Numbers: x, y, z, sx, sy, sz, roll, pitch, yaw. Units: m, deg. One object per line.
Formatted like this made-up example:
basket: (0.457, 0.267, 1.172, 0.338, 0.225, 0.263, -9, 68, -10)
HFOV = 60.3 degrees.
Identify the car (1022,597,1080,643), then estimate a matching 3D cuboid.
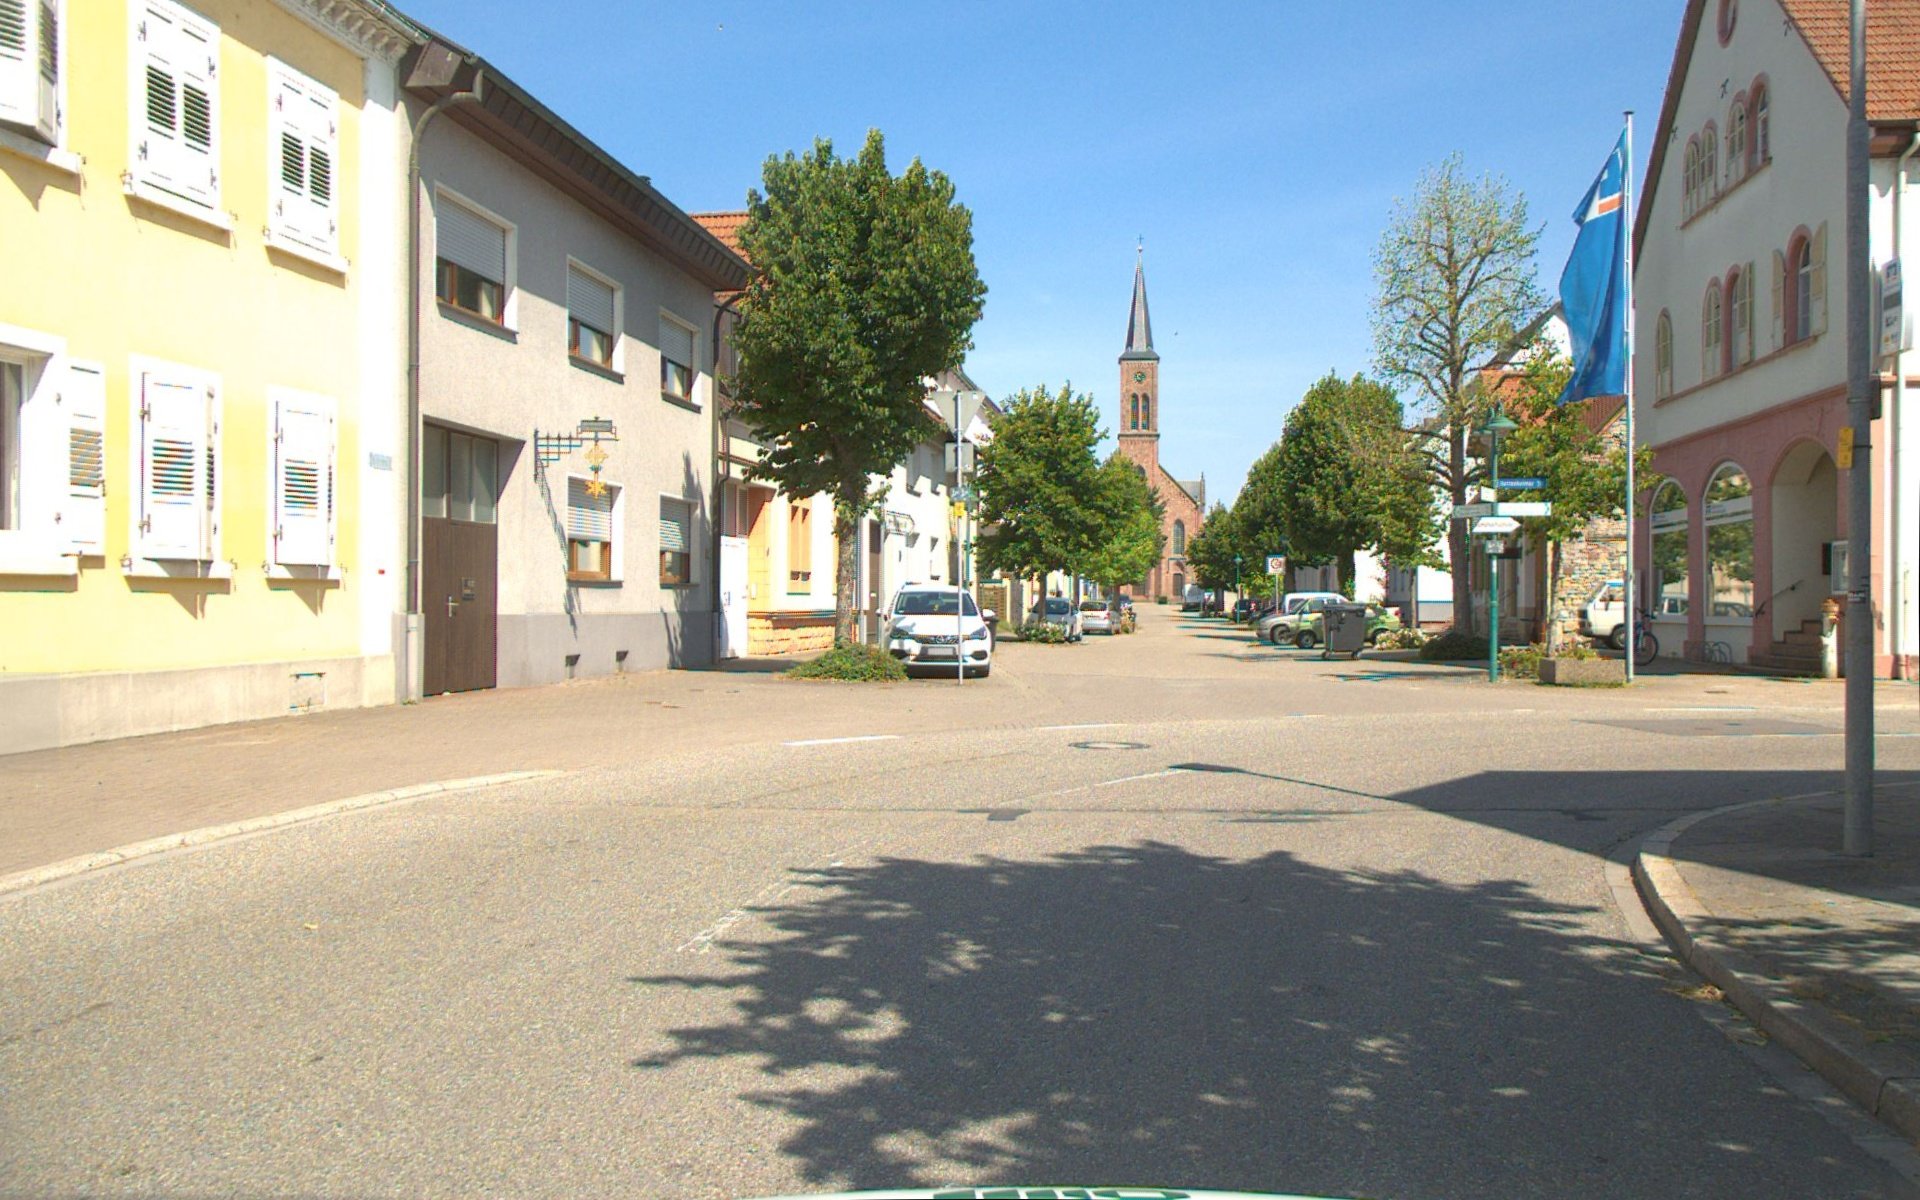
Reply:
car: (3.375, 0.711, 60.826, 1.951, 1.601, 4.003, 0, 0, 6)

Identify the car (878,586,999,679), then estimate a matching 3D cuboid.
car: (-0.454, 0.501, 28.284, 1.812, 1.466, 4.509, 0, 0, -4)

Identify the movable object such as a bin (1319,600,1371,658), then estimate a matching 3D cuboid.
movable object such as a bin: (9.074, 0.679, 39.038, 1.162, 1.361, 0.790, 0, 0, 11)

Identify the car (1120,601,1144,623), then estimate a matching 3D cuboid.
car: (14.747, 0.991, 141.878, 1.952, 1.847, 4.002, 0, 0, 4)

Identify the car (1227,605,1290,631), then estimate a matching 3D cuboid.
car: (19.300, 1.172, 107.086, 3.902, 1.646, 2.001, 0, 0, 5)

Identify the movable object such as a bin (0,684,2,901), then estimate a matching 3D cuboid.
movable object such as a bin: (-4.738, 0.888, 7.323, 0.629, 0.998, 0.613, 0, 0, 0)

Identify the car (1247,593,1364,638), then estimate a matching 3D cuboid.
car: (12.673, 0.568, 60.904, 4.062, 1.595, 2.002, 0, 0, 7)

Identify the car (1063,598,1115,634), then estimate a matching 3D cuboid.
car: (5.548, 0.666, 71.532, 1.952, 1.489, 4.000, 1, 0, 1)

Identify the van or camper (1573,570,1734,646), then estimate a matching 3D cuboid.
van or camper: (19.191, 0.206, 45.966, 3.902, 2.049, 2.001, 0, 0, 16)

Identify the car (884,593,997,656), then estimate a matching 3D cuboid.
car: (-0.396, 0.564, 41.317, 1.942, 1.466, 5.215, 0, 0, 9)

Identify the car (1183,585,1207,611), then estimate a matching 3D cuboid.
car: (22.275, -0.170, 156.778, 2.197, 2.318, 4.506, 2, -1, 7)

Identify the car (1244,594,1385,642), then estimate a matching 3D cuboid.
car: (12.394, 0.620, 58.124, 4.701, 1.652, 2.002, 0, 0, 7)

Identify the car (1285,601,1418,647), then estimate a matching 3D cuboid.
car: (12.167, 0.722, 51.593, 3.840, 1.368, 2.002, 0, 0, 7)

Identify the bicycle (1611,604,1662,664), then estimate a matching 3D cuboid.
bicycle: (13.564, 0.661, 33.183, 0.580, 1.155, 1.750, 0, 0, 10)
